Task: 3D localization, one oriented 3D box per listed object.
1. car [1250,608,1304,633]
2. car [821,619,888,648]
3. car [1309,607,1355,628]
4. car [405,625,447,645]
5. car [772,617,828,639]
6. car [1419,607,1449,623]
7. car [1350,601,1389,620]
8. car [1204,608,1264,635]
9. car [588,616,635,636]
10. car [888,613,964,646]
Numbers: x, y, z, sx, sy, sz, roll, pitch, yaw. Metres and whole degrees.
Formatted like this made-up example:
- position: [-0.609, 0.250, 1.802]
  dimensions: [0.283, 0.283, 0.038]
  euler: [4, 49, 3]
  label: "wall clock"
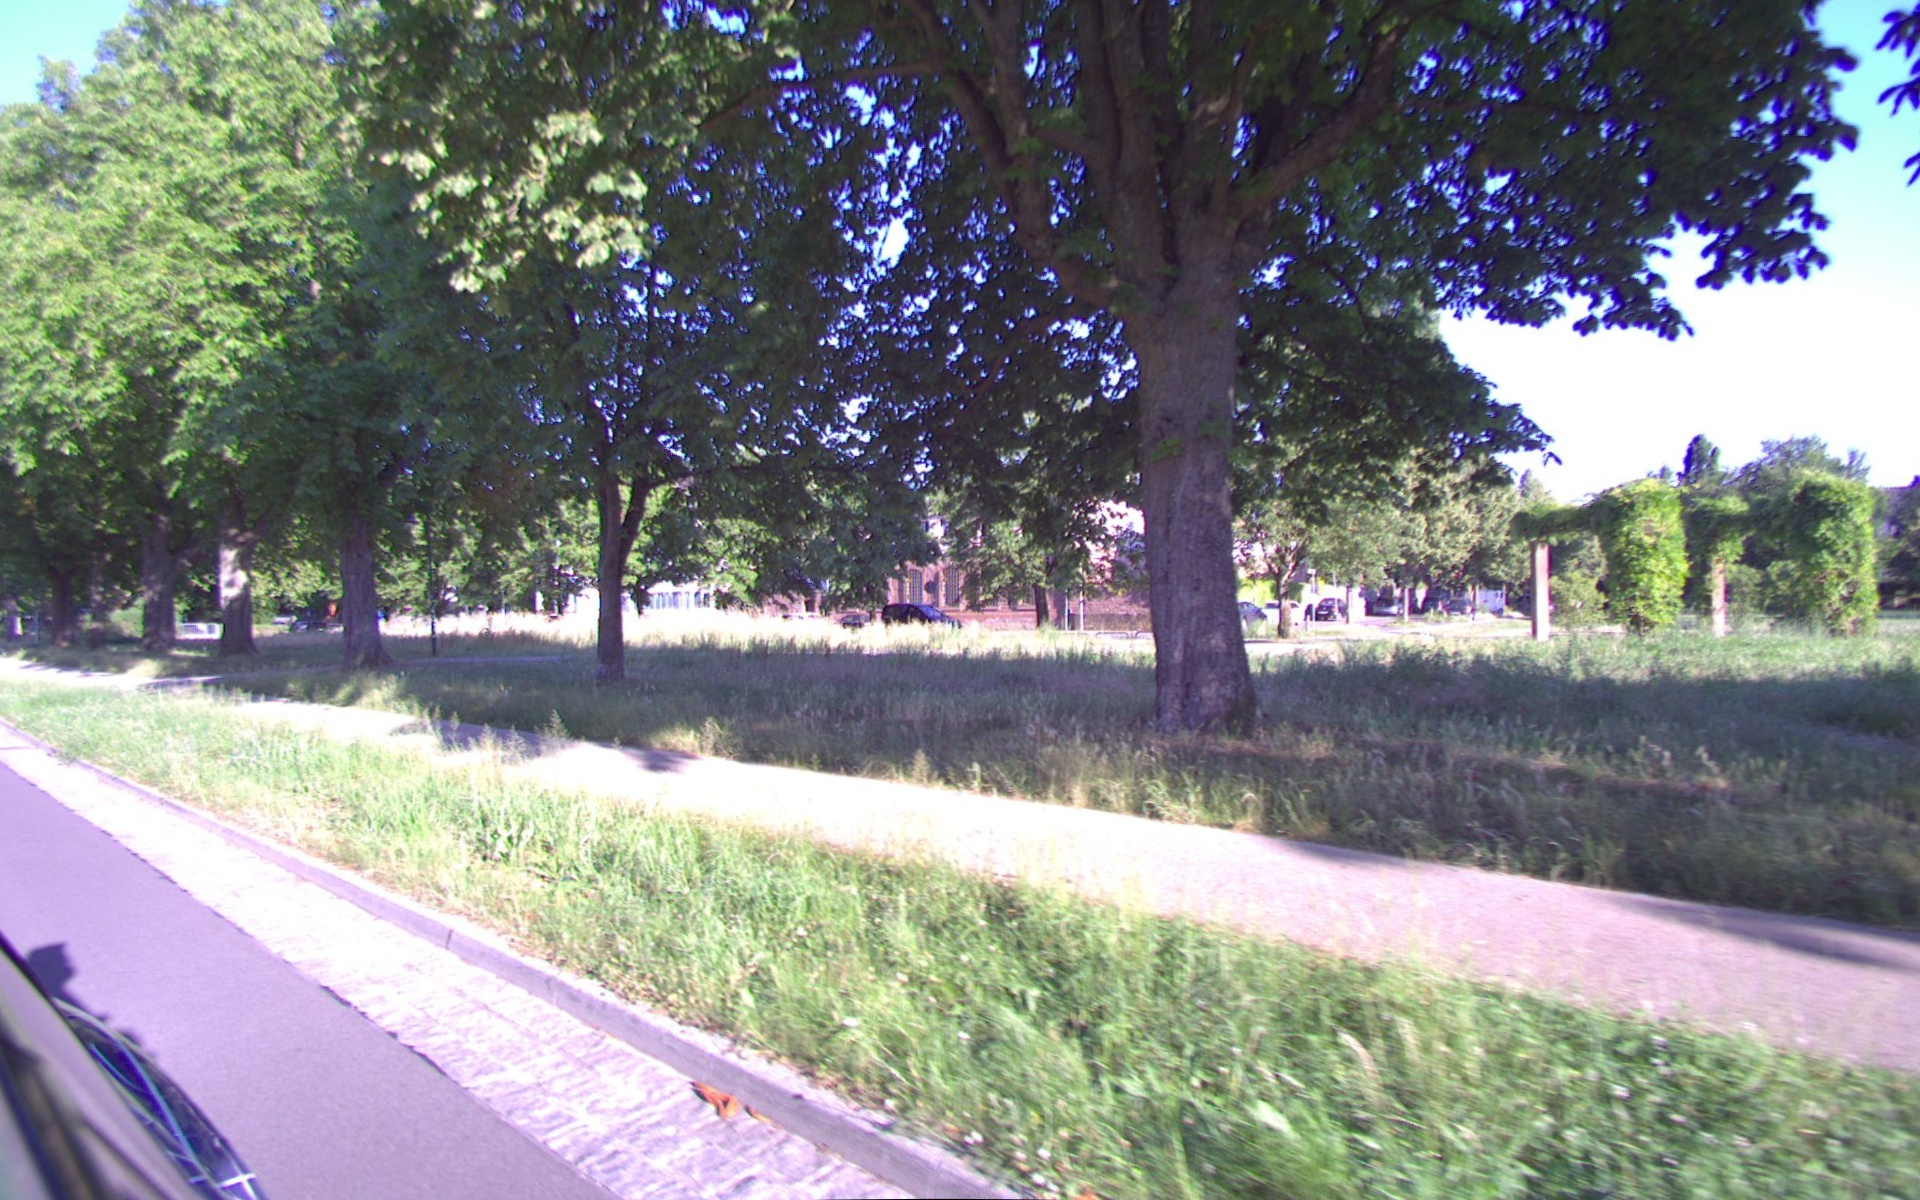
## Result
- position: [18.157, 1.153, 57.968]
  dimensions: [1.586, 1.290, 3.589]
  euler: [-1, 0, 42]
  label: "car"
- position: [-6.343, 2.001, 60.846]
  dimensions: [3.998, 1.641, 1.744]
  euler: [-2, -1, 41]
  label: "car"
- position: [24.613, 1.166, 66.875]
  dimensions: [1.586, 1.290, 3.589]
  euler: [-1, 0, 42]
  label: "car"
- position: [-47.777, 3.150, 90.442]
  dimensions: [4.424, 1.641, 1.849]
  euler: [-2, -1, 41]
  label: "car"
- position: [-10.227, 1.779, 64.564]
  dimensions: [3.580, 1.284, 1.564]
  euler: [-1, 0, 42]
  label: "car"
- position: [41.182, 1.284, 87.855]
  dimensions: [1.584, 1.290, 3.592]
  euler: [-1, 0, 39]
  label: "car"
- position: [30.859, 0.776, 76.199]
  dimensions: [1.586, 1.290, 3.589]
  euler: [-1, 0, 42]
  label: "car"
- position: [14.404, 1.103, 53.122]
  dimensions: [1.586, 1.290, 3.589]
  euler: [-1, 0, 42]
  label: "car"
- position: [-27.175, 2.051, 78.901]
  dimensions: [3.793, 1.490, 1.744]
  euler: [-1, 0, 41]
  label: "car"
- position: [-1.684, 1.415, 49.117]
  dimensions: [3.639, 1.492, 1.564]
  euler: [-1, 0, 42]
  label: "car"
